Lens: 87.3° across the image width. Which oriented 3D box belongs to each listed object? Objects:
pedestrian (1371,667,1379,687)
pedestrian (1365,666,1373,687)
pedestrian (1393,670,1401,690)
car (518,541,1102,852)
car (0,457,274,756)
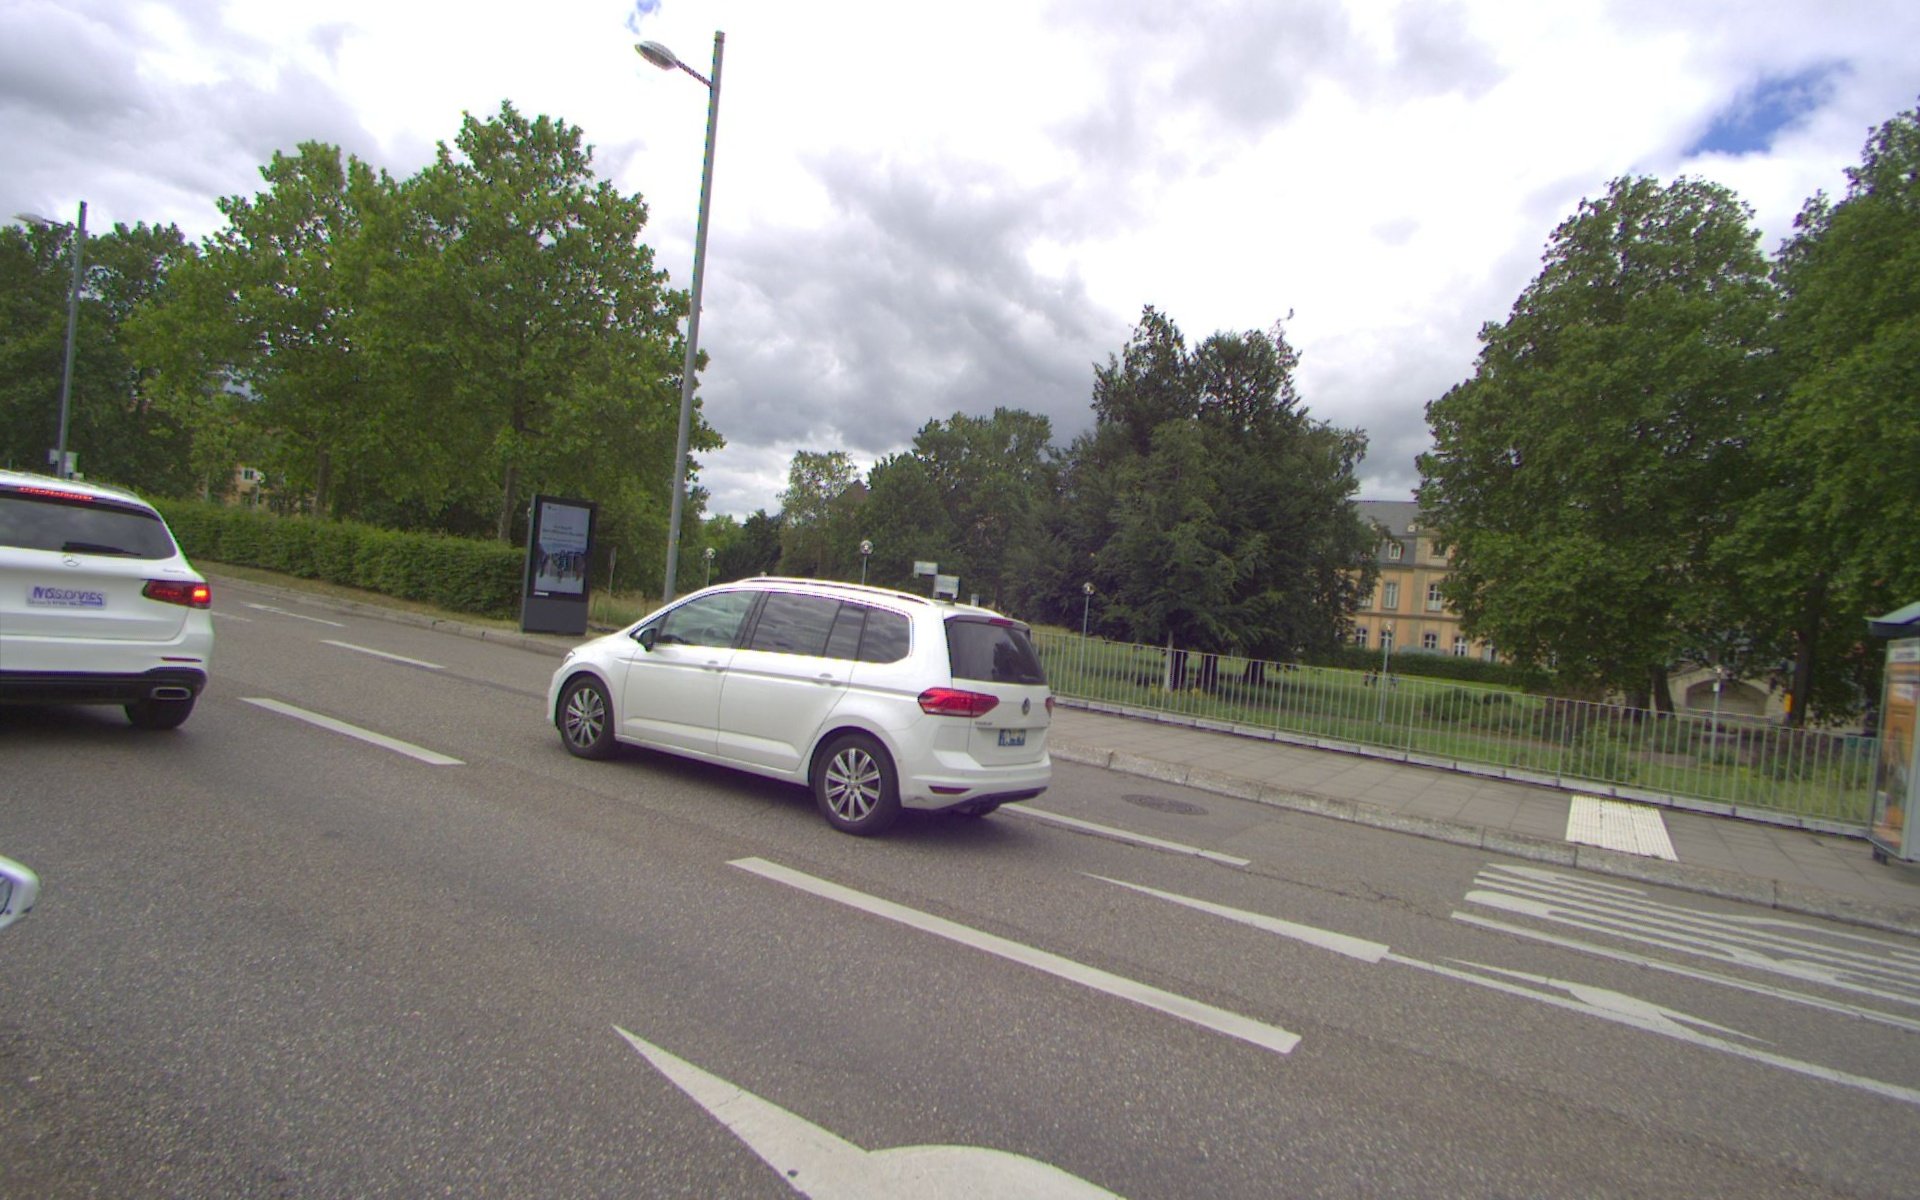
[{"bbox_3d":[37.409,6.969,90.624,0.460,1.756,0.405,5,-2,32],"label":"pedestrian"},{"bbox_3d":[36.692,6.866,90.276,0.461,1.756,0.404,5,-2,39],"label":"pedestrian"},{"bbox_3d":[38.936,7.115,89.625,0.460,1.725,0.405,5,-2,32],"label":"pedestrian"},{"bbox_3d":[-1.277,0.612,8.152,4.232,1.660,1.997,6,-1,30],"label":"car"},{"bbox_3d":[-7.015,-0.162,7.095,4.416,1.673,1.928,7,0,33],"label":"car"}]
